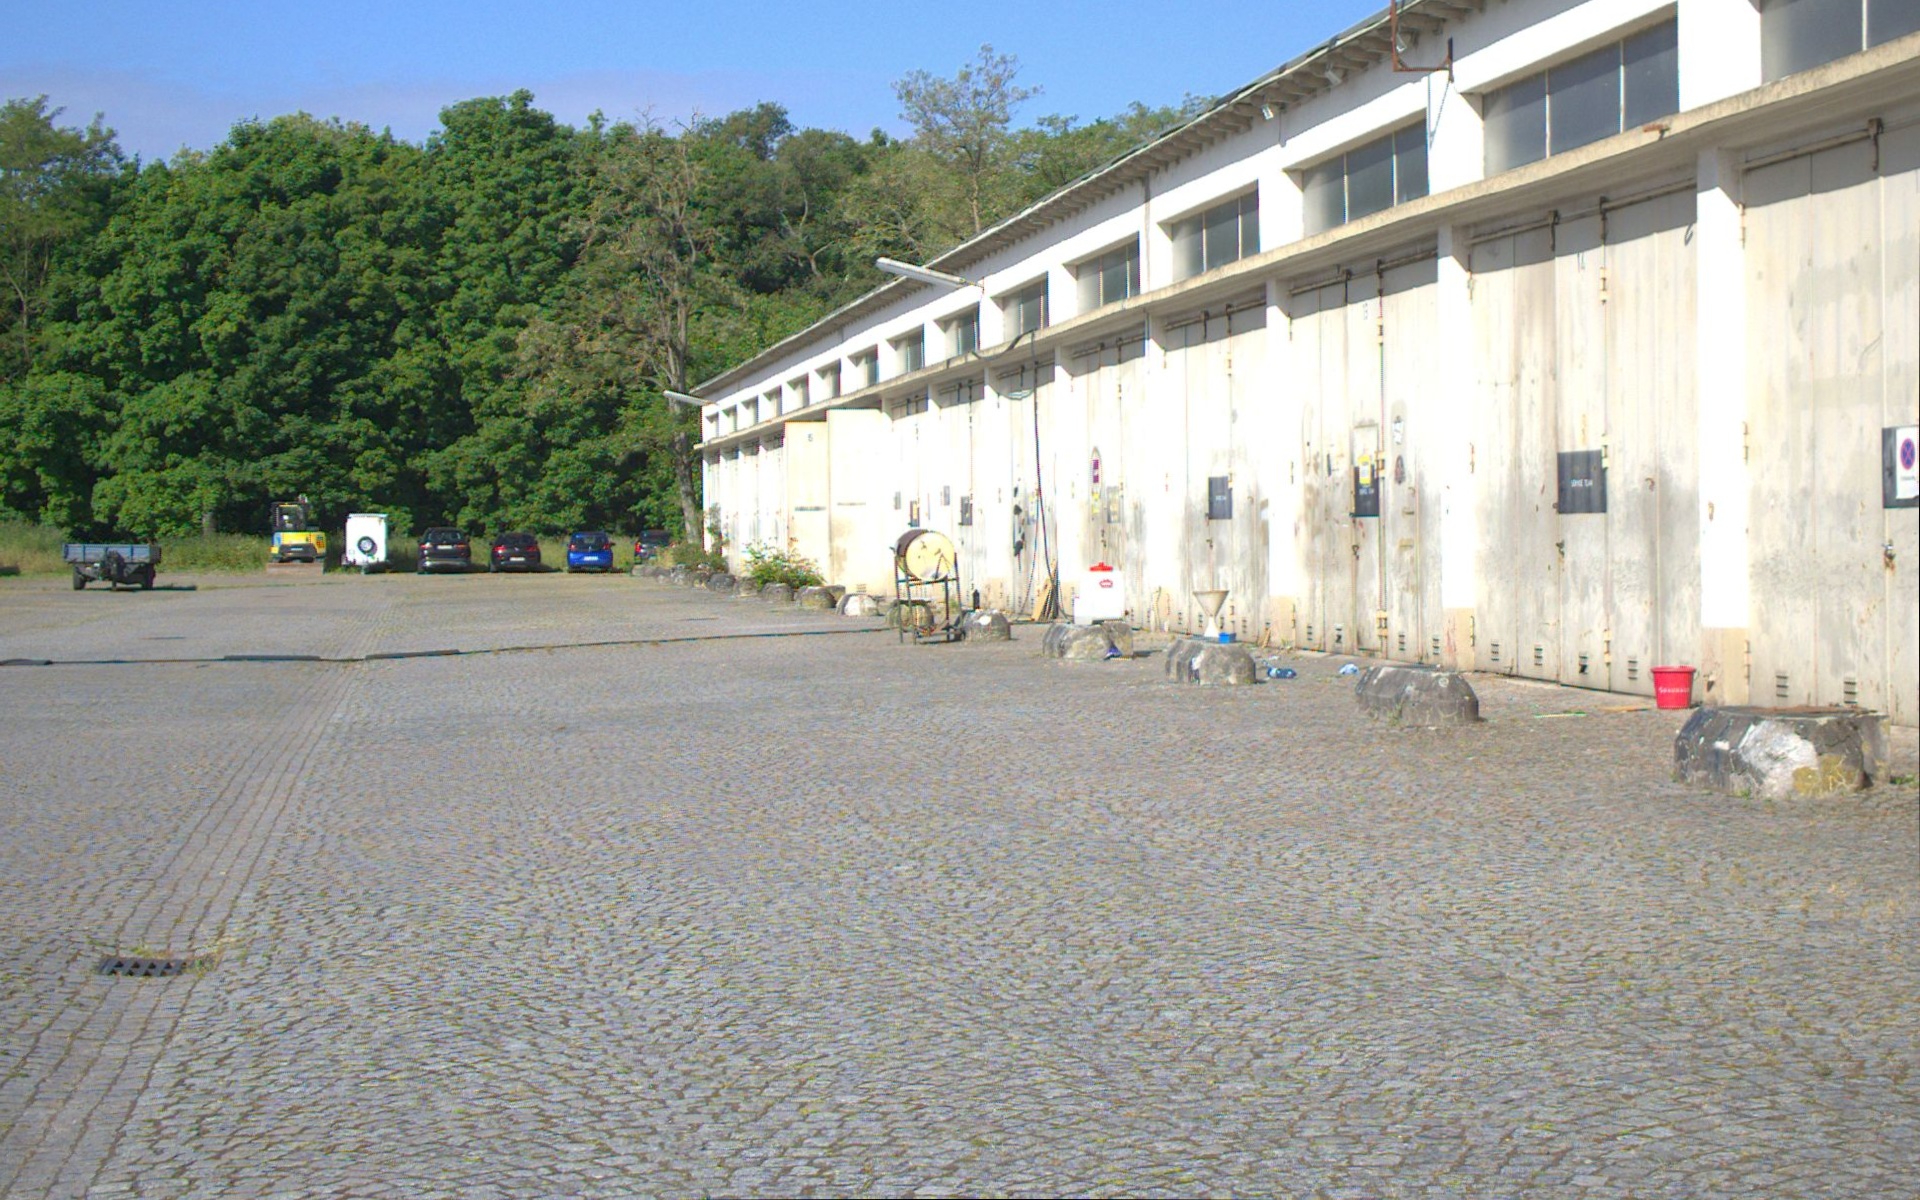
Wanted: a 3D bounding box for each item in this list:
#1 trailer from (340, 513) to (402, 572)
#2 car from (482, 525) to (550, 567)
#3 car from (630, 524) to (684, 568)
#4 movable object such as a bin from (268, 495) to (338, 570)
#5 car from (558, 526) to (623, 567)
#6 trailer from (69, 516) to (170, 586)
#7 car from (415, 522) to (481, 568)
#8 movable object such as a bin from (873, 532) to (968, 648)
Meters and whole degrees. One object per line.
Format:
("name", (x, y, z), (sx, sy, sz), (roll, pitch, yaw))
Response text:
("trailer", (-21.121, -2.066, 123.350), (1.793, 2.083, 3.972), (-1, 1, -5))
("car", (-15.813, -1.936, 122.622), (1.993, 1.457, 4.001), (-1, 1, -2))
("car", (-10.976, -1.976, 124.713), (1.685, 1.558, 4.001), (-1, 1, -2))
("movable object such as a bin", (-23.540, -2.434, 123.262), (1.993, 2.609, 4.001), (1, 1, -5))
("car", (-13.208, -1.924, 123.011), (1.993, 1.415, 4.001), (-1, 1, -2))
("trailer", (-25.249, -1.475, 103.389), (2.406, 2.007, 4.174), (1, 1, -7))
("car", (-18.166, -1.966, 122.075), (1.861, 1.580, 4.001), (-1, 1, -2))
("movable object such as a bin", (-0.473, -0.123, 40.376), (0.823, 1.327, 1.281), (-1, 1, -14))
